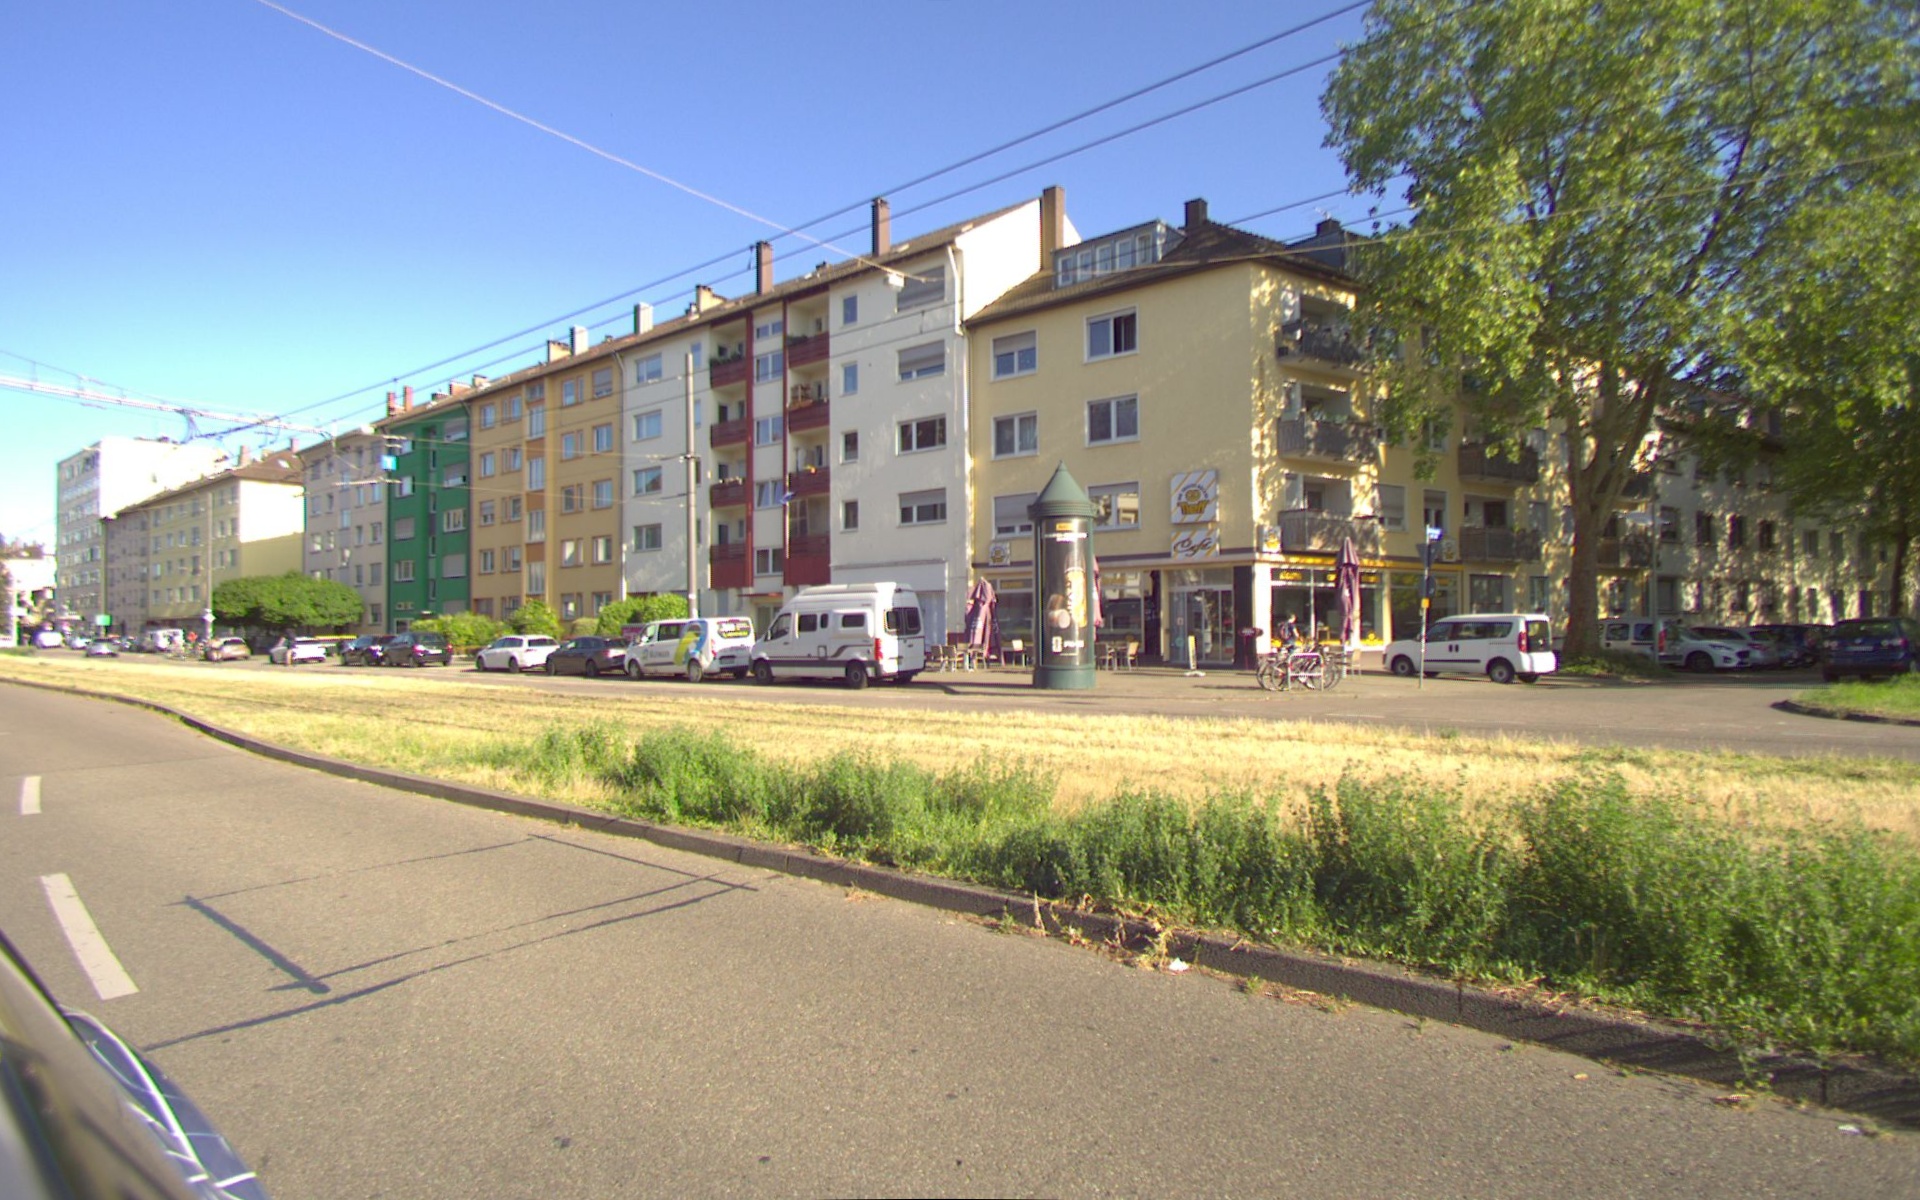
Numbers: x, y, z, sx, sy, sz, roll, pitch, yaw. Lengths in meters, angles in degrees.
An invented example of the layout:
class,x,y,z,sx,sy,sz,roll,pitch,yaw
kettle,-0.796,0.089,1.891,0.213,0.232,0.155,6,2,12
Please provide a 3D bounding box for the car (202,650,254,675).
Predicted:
class,x,y,z,sx,sy,sz,roll,pitch,yaw
car,-46.806,3.970,64.693,3.728,1.453,1.620,-2,0,37

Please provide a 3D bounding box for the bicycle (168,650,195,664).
class,x,y,z,sx,sy,sz,roll,pitch,yaw
bicycle,-67.082,4.894,87.239,0.390,1.114,1.801,-2,0,39

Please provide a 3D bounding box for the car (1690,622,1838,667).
class,x,y,z,sx,sy,sz,roll,pitch,yaw
car,30.659,1.672,38.710,1.850,1.626,4.012,2,-2,-31

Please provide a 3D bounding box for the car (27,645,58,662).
class,x,y,z,sx,sy,sz,roll,pitch,yaw
car,-112.875,6.540,124.534,4.662,1.912,1.975,-2,0,37

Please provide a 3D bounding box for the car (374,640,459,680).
class,x,y,z,sx,sy,sz,roll,pitch,yaw
car,-25.080,2.738,46.656,4.147,1.620,1.974,-2,0,39

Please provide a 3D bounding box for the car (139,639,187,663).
class,x,y,z,sx,sy,sz,roll,pitch,yaw
car,-71.696,4.559,90.981,5.490,1.964,1.976,-2,0,36

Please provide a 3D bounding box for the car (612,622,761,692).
class,x,y,z,sx,sy,sz,roll,pitch,yaw
car,-9.064,1.830,33.253,5.366,2.036,2.012,-2,0,40

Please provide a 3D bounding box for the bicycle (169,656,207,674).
class,x,y,z,sx,sy,sz,roll,pitch,yaw
bicycle,-55.110,4.619,72.244,0.616,1.101,2.025,-2,0,45

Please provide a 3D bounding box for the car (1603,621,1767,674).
class,x,y,z,sx,sy,sz,roll,pitch,yaw
car,24.613,1.576,34.492,1.966,1.677,4.073,2,-2,-31

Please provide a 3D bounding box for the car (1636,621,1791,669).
class,x,y,z,sx,sy,sz,roll,pitch,yaw
car,26.573,1.560,35.819,1.850,1.582,4.012,2,-2,-31

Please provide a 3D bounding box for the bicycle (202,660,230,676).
class,x,y,z,sx,sy,sz,roll,pitch,yaw
bicycle,-42.063,3.816,57.214,2.067,0.886,0.760,-2,-4,40

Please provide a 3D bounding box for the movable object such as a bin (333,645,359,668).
class,x,y,z,sx,sy,sz,roll,pitch,yaw
movable object such as a bin,-39.950,3.652,65.841,1.039,1.378,1.135,-2,0,42

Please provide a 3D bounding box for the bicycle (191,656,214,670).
class,x,y,z,sx,sy,sz,roll,pitch,yaw
bicycle,-51.582,4.291,68.908,2.045,0.872,0.374,-2,0,28

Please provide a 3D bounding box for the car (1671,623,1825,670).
class,x,y,z,sx,sy,sz,roll,pitch,yaw
car,28.623,1.662,36.885,1.850,1.626,4.012,2,-2,-31

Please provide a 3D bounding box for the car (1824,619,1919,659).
class,x,y,z,sx,sy,sz,roll,pitch,yaw
car,40.918,1.705,44.452,1.966,1.677,4.073,2,-2,-31

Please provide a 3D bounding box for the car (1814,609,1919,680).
class,x,y,z,sx,sy,sz,roll,pitch,yaw
car,22.872,1.068,24.839,3.932,1.613,1.754,0,-3,-32

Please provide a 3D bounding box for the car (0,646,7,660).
class,x,y,z,sx,sy,sz,roll,pitch,yaw
car,-98.484,5.386,102.575,4.402,1.395,1.819,-2,-3,33

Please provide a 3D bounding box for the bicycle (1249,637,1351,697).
class,x,y,z,sx,sy,sz,roll,pitch,yaw
bicycle,7.601,1.494,22.662,2.064,1.261,0.519,-1,0,6

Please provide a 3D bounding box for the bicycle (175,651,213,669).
class,x,y,z,sx,sy,sz,roll,pitch,yaw
bicycle,-53.681,4.230,70.940,0.616,1.101,2.025,-2,0,45

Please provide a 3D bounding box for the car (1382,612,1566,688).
class,x,y,z,sx,sy,sz,roll,pitch,yaw
car,14.072,1.319,27.881,1.967,1.840,4.009,-3,0,-37

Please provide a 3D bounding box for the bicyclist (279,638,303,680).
class,x,y,z,sx,sy,sz,roll,pitch,yaw
bicyclist,-33.547,2.969,50.766,0.647,2.029,0.765,-2,0,39

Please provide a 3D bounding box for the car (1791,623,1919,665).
class,x,y,z,sx,sy,sz,roll,pitch,yaw
car,37.662,1.807,42.307,1.966,1.677,4.073,2,-2,-31

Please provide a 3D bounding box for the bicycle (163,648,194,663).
class,x,y,z,sx,sy,sz,roll,pitch,yaw
bicycle,-68.433,4.850,88.619,0.472,1.114,2.077,-2,0,39

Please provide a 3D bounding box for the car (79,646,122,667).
class,x,y,z,sx,sy,sz,roll,pitch,yaw
car,-61.928,4.037,72.895,4.214,1.459,1.677,-2,-4,40

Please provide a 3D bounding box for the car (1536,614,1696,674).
class,x,y,z,sx,sy,sz,roll,pitch,yaw
car,21.679,1.447,33.597,1.966,1.857,4.012,2,-2,-31

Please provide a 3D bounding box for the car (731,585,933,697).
class,x,y,z,sx,sy,sz,roll,pitch,yaw
car,-3.795,1.144,28.959,6.223,2.890,2.011,-2,-1,40

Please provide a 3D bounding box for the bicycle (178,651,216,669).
class,x,y,z,sx,sy,sz,roll,pitch,yaw
bicycle,-53.178,4.197,70.526,0.616,1.101,2.025,-2,0,45

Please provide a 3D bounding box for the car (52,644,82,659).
class,x,y,z,sx,sy,sz,roll,pitch,yaw
car,-96.622,5.546,109.542,4.195,1.497,1.741,-2,0,39

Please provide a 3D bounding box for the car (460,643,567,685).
class,x,y,z,sx,sy,sz,roll,pitch,yaw
car,-17.848,2.529,40.375,4.696,1.503,1.875,-2,0,37

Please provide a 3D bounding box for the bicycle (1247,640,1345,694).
class,x,y,z,sx,sy,sz,roll,pitch,yaw
bicycle,7.690,1.543,23.213,2.064,1.193,0.519,-1,0,6

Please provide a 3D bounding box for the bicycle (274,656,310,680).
class,x,y,z,sx,sy,sz,roll,pitch,yaw
bicycle,-33.413,3.386,50.621,2.472,1.155,0.760,-2,-4,40

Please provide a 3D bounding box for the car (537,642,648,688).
class,x,y,z,sx,sy,sz,roll,pitch,yaw
car,-13.374,2.324,36.747,4.318,1.526,1.679,-2,-1,37

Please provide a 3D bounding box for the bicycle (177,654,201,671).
class,x,y,z,sx,sy,sz,roll,pitch,yaw
bicycle,-51.929,4.195,68.147,1.927,1.101,0.506,-2,0,28

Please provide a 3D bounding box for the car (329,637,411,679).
class,x,y,z,sx,sy,sz,roll,pitch,yaw
car,-29.009,2.831,49.680,4.604,1.851,1.974,-2,0,39

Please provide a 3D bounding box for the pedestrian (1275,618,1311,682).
class,x,y,z,sx,sy,sz,roll,pitch,yaw
pedestrian,9.643,1.447,29.287,0.836,1.798,0.682,-2,0,26

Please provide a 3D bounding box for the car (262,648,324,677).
class,x,y,z,sx,sy,sz,roll,pitch,yaw
car,-37.152,3.434,56.331,4.372,1.465,1.711,-2,-1,40

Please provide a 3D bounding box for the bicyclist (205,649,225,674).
class,x,y,z,sx,sy,sz,roll,pitch,yaw
bicyclist,-42.137,3.468,57.275,0.647,1.394,0.765,-2,-3,39

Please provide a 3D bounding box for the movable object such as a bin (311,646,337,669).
class,x,y,z,sx,sy,sz,roll,pitch,yaw
movable object such as a bin,-40.792,3.706,64.874,1.039,1.378,1.135,-2,0,42
